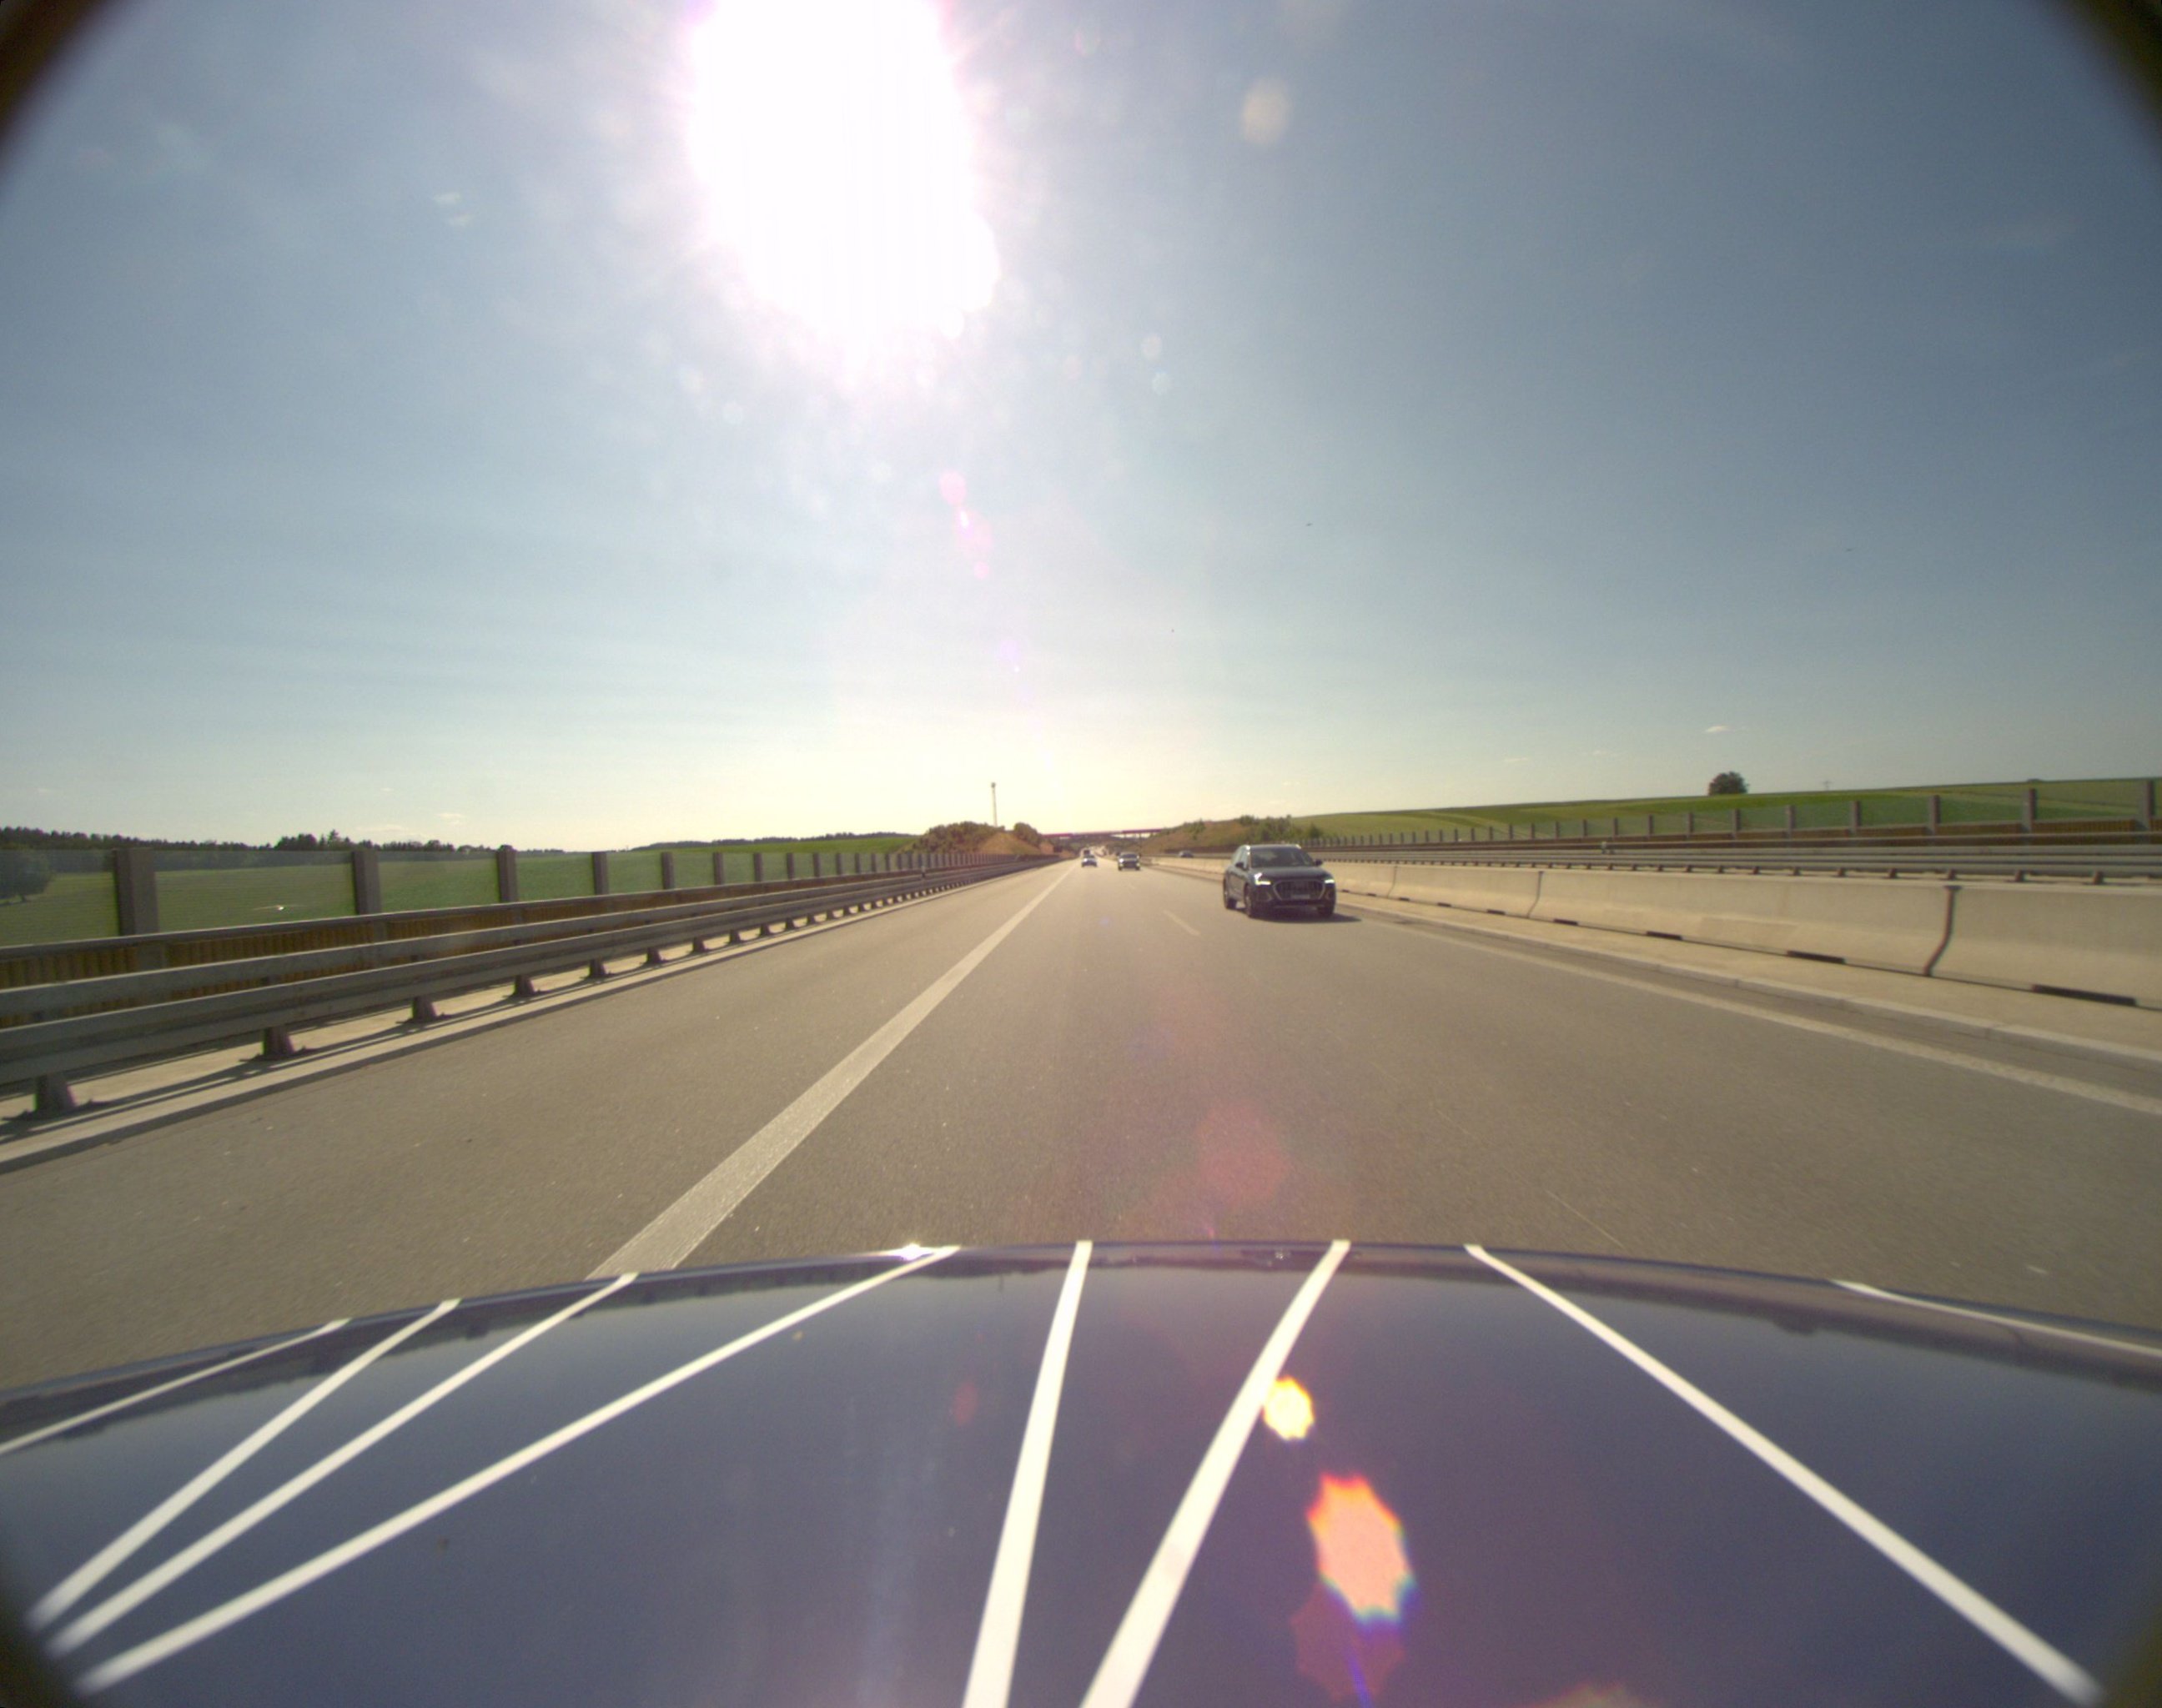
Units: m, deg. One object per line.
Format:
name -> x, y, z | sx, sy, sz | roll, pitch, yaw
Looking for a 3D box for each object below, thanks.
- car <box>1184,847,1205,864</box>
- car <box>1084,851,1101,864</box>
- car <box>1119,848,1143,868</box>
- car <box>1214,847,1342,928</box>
car -> 14.344, 0.130, 96.224 | 1.998, 2.002, 4.761 | -2, 1, 2
car -> 1.366, 0.369, 88.307 | 1.909, 1.449, 4.375 | -2, 1, 2
car -> 4.355, 0.315, 66.658 | 1.776, 1.560, 4.988 | -2, 1, 1
car -> 4.464, 0.656, 18.058 | 1.726, 1.578, 5.222 | -2, 1, 1
